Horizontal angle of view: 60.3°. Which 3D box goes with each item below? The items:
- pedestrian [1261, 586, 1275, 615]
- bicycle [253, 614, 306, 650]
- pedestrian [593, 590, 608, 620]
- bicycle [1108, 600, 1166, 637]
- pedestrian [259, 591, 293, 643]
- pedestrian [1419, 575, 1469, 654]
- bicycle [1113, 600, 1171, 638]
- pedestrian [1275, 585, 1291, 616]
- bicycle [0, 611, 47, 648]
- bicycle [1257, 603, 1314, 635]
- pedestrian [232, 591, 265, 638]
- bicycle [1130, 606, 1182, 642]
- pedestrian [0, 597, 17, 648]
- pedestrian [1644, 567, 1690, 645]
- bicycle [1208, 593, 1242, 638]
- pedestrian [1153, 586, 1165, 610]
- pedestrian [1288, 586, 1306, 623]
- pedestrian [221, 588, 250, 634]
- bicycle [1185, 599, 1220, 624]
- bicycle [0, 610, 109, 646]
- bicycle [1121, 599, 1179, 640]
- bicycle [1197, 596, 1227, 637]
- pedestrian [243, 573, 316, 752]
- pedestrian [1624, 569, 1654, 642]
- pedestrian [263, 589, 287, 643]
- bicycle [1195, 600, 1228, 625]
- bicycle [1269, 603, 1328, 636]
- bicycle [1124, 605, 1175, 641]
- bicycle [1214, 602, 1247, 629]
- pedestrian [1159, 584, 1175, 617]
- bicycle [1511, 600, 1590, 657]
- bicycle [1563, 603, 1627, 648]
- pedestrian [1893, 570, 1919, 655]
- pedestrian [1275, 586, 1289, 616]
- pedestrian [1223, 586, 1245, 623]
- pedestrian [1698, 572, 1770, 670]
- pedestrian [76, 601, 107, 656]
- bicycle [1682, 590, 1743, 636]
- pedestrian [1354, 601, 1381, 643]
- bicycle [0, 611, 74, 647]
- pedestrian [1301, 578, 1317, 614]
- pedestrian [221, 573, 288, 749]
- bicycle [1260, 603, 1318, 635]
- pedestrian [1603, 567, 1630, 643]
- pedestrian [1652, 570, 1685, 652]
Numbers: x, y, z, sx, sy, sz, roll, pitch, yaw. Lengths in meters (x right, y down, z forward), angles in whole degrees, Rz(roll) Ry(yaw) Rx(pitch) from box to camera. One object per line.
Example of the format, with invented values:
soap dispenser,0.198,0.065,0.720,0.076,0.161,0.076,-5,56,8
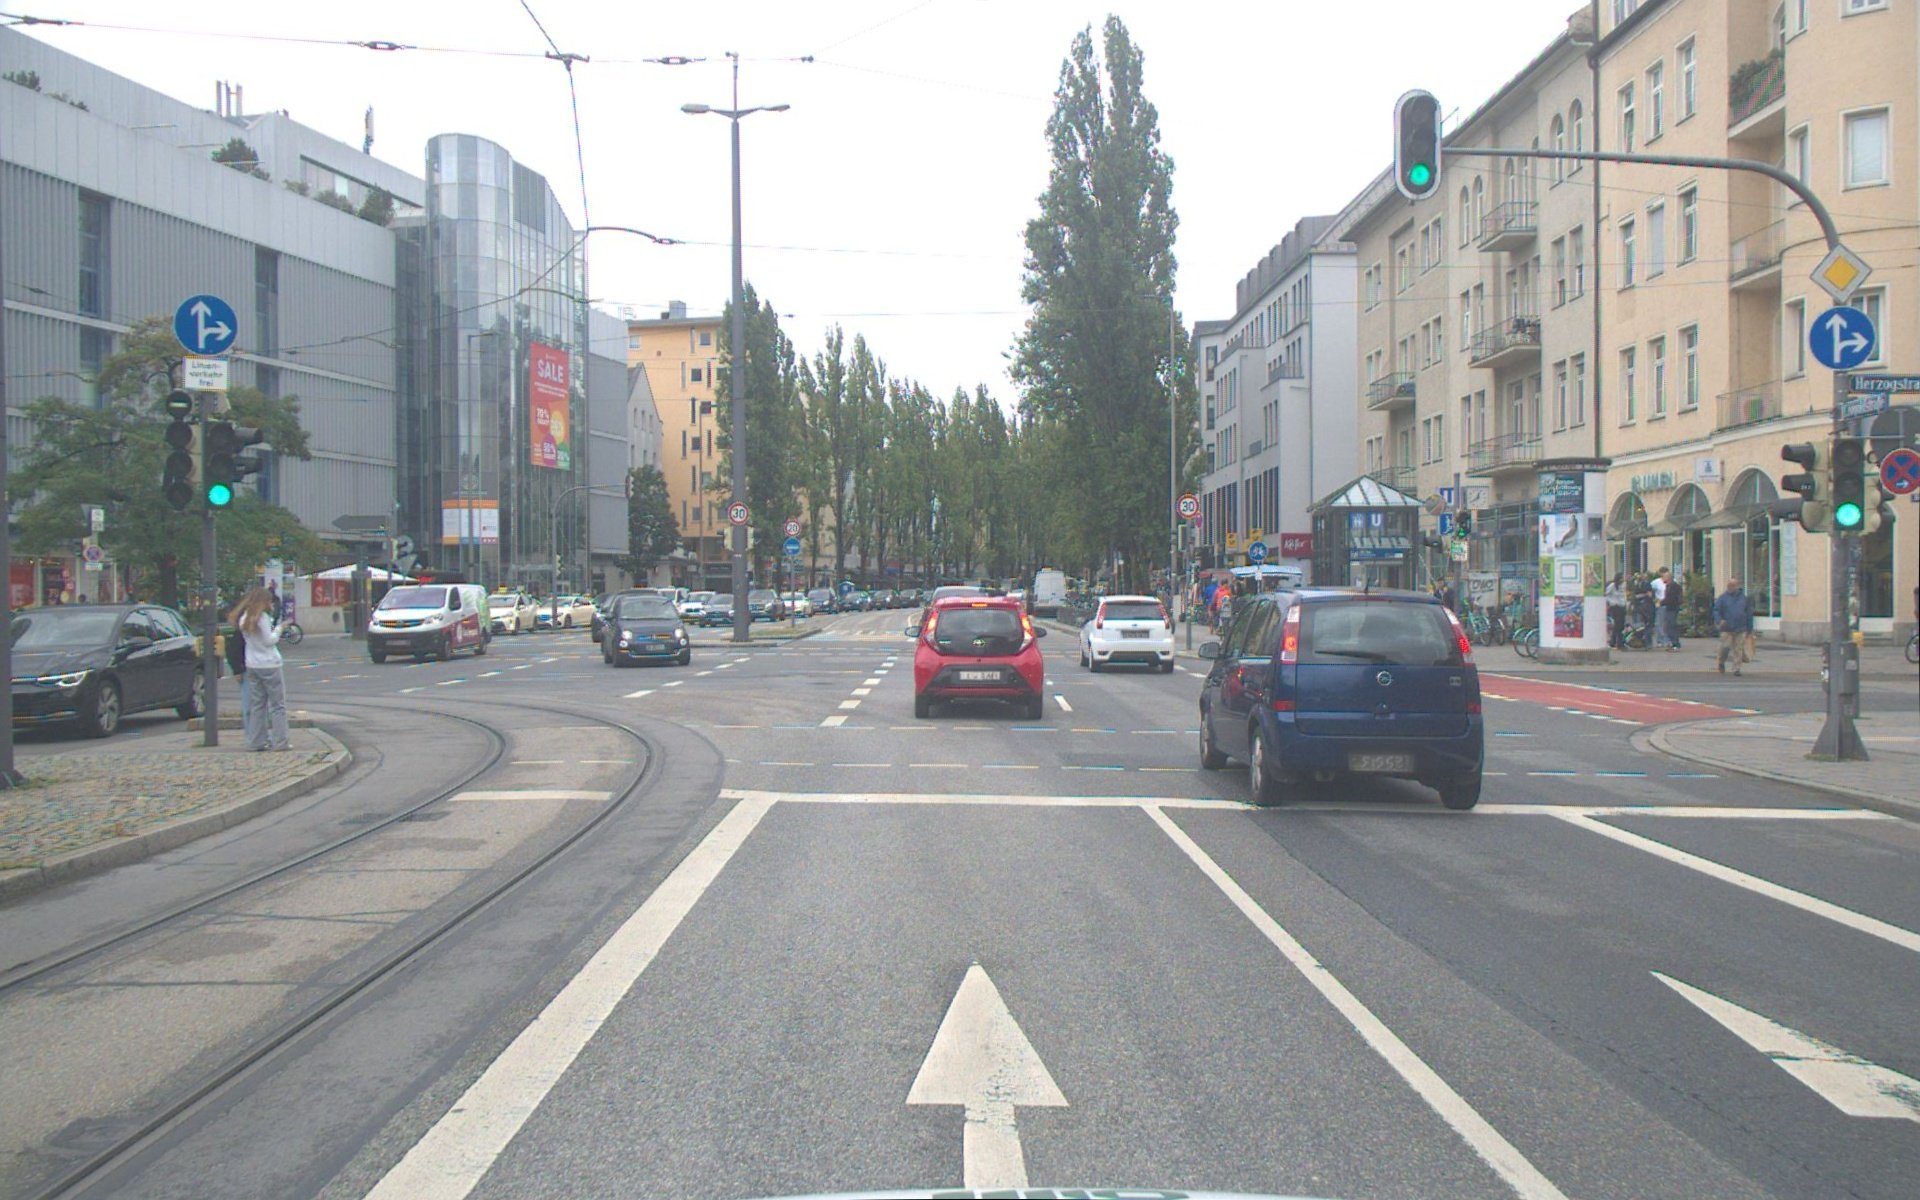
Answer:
pedestrian,15.028,0.032,80.741,0.586,1.427,0.580,0,0,-1
bicycle,-21.441,1.014,52.107,1.541,1.131,0.373,0,0,3
pedestrian,-20.846,0.276,95.944,0.637,1.721,0.712,0,0,12
bicycle,5.675,0.581,53.009,1.763,1.178,0.486,0,0,26
pedestrian,-22.635,0.558,54.748,0.754,1.683,0.752,-1,0,10
pedestrian,10.721,0.305,36.621,0.820,1.720,0.816,-1,0,37
bicycle,5.674,0.587,51.517,1.770,1.178,0.546,0,0,38
pedestrian,16.887,0.010,86.388,0.698,1.585,0.676,-1,0,-1
bicycle,-31.739,0.967,54.073,3.419,1.177,1.061,-1,0,12
bicycle,10.400,0.599,52.869,1.718,0.981,0.369,-1,0,0
pedestrian,-24.109,0.485,56.038,0.759,1.581,0.747,0,0,42
bicycle,5.753,0.701,48.609,0.495,1.046,1.576,-1,0,-42
pedestrian,-30.586,0.723,52.388,0.780,1.608,0.978,-1,0,10
pedestrian,16.247,0.131,38.008,0.637,1.734,0.726,-3,4,-30
bicycle,7.803,0.442,48.749,0.601,1.287,2.520,-1,0,0
pedestrian,13.106,-0.112,108.709,0.698,1.585,0.676,0,0,-1
pedestrian,14.055,0.183,68.900,0.568,1.531,0.615,0,0,31
pedestrian,-24.114,0.352,55.053,0.743,1.519,0.763,-1,0,-35
bicycle,9.947,0.468,67.814,1.401,0.980,0.369,-1,0,5
bicycle,-31.165,0.972,56.927,3.419,1.177,1.061,-1,0,12
bicycle,5.743,0.583,50.125,1.773,1.219,0.555,0,0,43
bicycle,8.335,0.528,54.850,0.601,1.287,2.520,-1,0,0
pedestrian,-6.409,0.573,15.570,0.513,1.646,0.461,-1,0,43
pedestrian,15.597,0.112,37.980,0.548,1.637,0.568,0,3,12
pedestrian,-23.141,0.538,55.878,0.739,1.804,0.767,-1,0,-24
bicycle,10.075,0.519,66.275,1.235,0.980,0.369,-1,0,2
bicycle,10.423,0.600,50.955,1.719,0.981,0.453,-1,0,-2
bicycle,5.670,0.693,49.464,0.495,1.046,1.576,-1,0,-42
bicycle,10.056,0.576,61.424,1.156,0.980,0.369,-1,0,3
pedestrian,11.007,0.024,88.013,0.774,1.758,0.764,0,0,-1
bicycle,12.882,0.628,36.103,1.536,1.180,0.525,-1,2,2
bicycle,15.676,0.617,40.870,0.486,1.077,1.858,-1,0,-15
pedestrian,19.887,0.248,34.316,0.666,1.714,0.748,-1,3,9
pedestrian,15.730,0.048,80.781,0.563,1.427,0.580,0,0,-1
pedestrian,11.612,0.185,70.125,0.792,1.549,0.800,0,0,0
pedestrian,14.421,0.388,30.845,0.914,1.786,1.066,-1,0,7
pedestrian,-27.740,0.910,52.819,0.780,1.717,0.852,-1,0,-35
bicycle,18.676,0.313,41.083,0.485,1.108,1.864,-1,0,-6
pedestrian,15.403,0.831,62.498,0.762,1.544,0.758,-2,0,-2
bicycle,-31.496,0.969,55.289,3.419,1.177,1.061,-1,0,12
pedestrian,14.662,-0.158,69.518,0.497,1.510,0.463,-1,0,35
pedestrian,-6.739,0.566,15.797,0.482,1.646,0.551,0,0,-35
bicycle,10.371,0.607,52.176,1.718,0.981,0.453,-1,0,0
pedestrian,14.953,0.105,37.683,0.554,1.699,0.562,0,3,22
pedestrian,15.765,0.228,36.813,0.635,1.782,0.637,0,3,22
